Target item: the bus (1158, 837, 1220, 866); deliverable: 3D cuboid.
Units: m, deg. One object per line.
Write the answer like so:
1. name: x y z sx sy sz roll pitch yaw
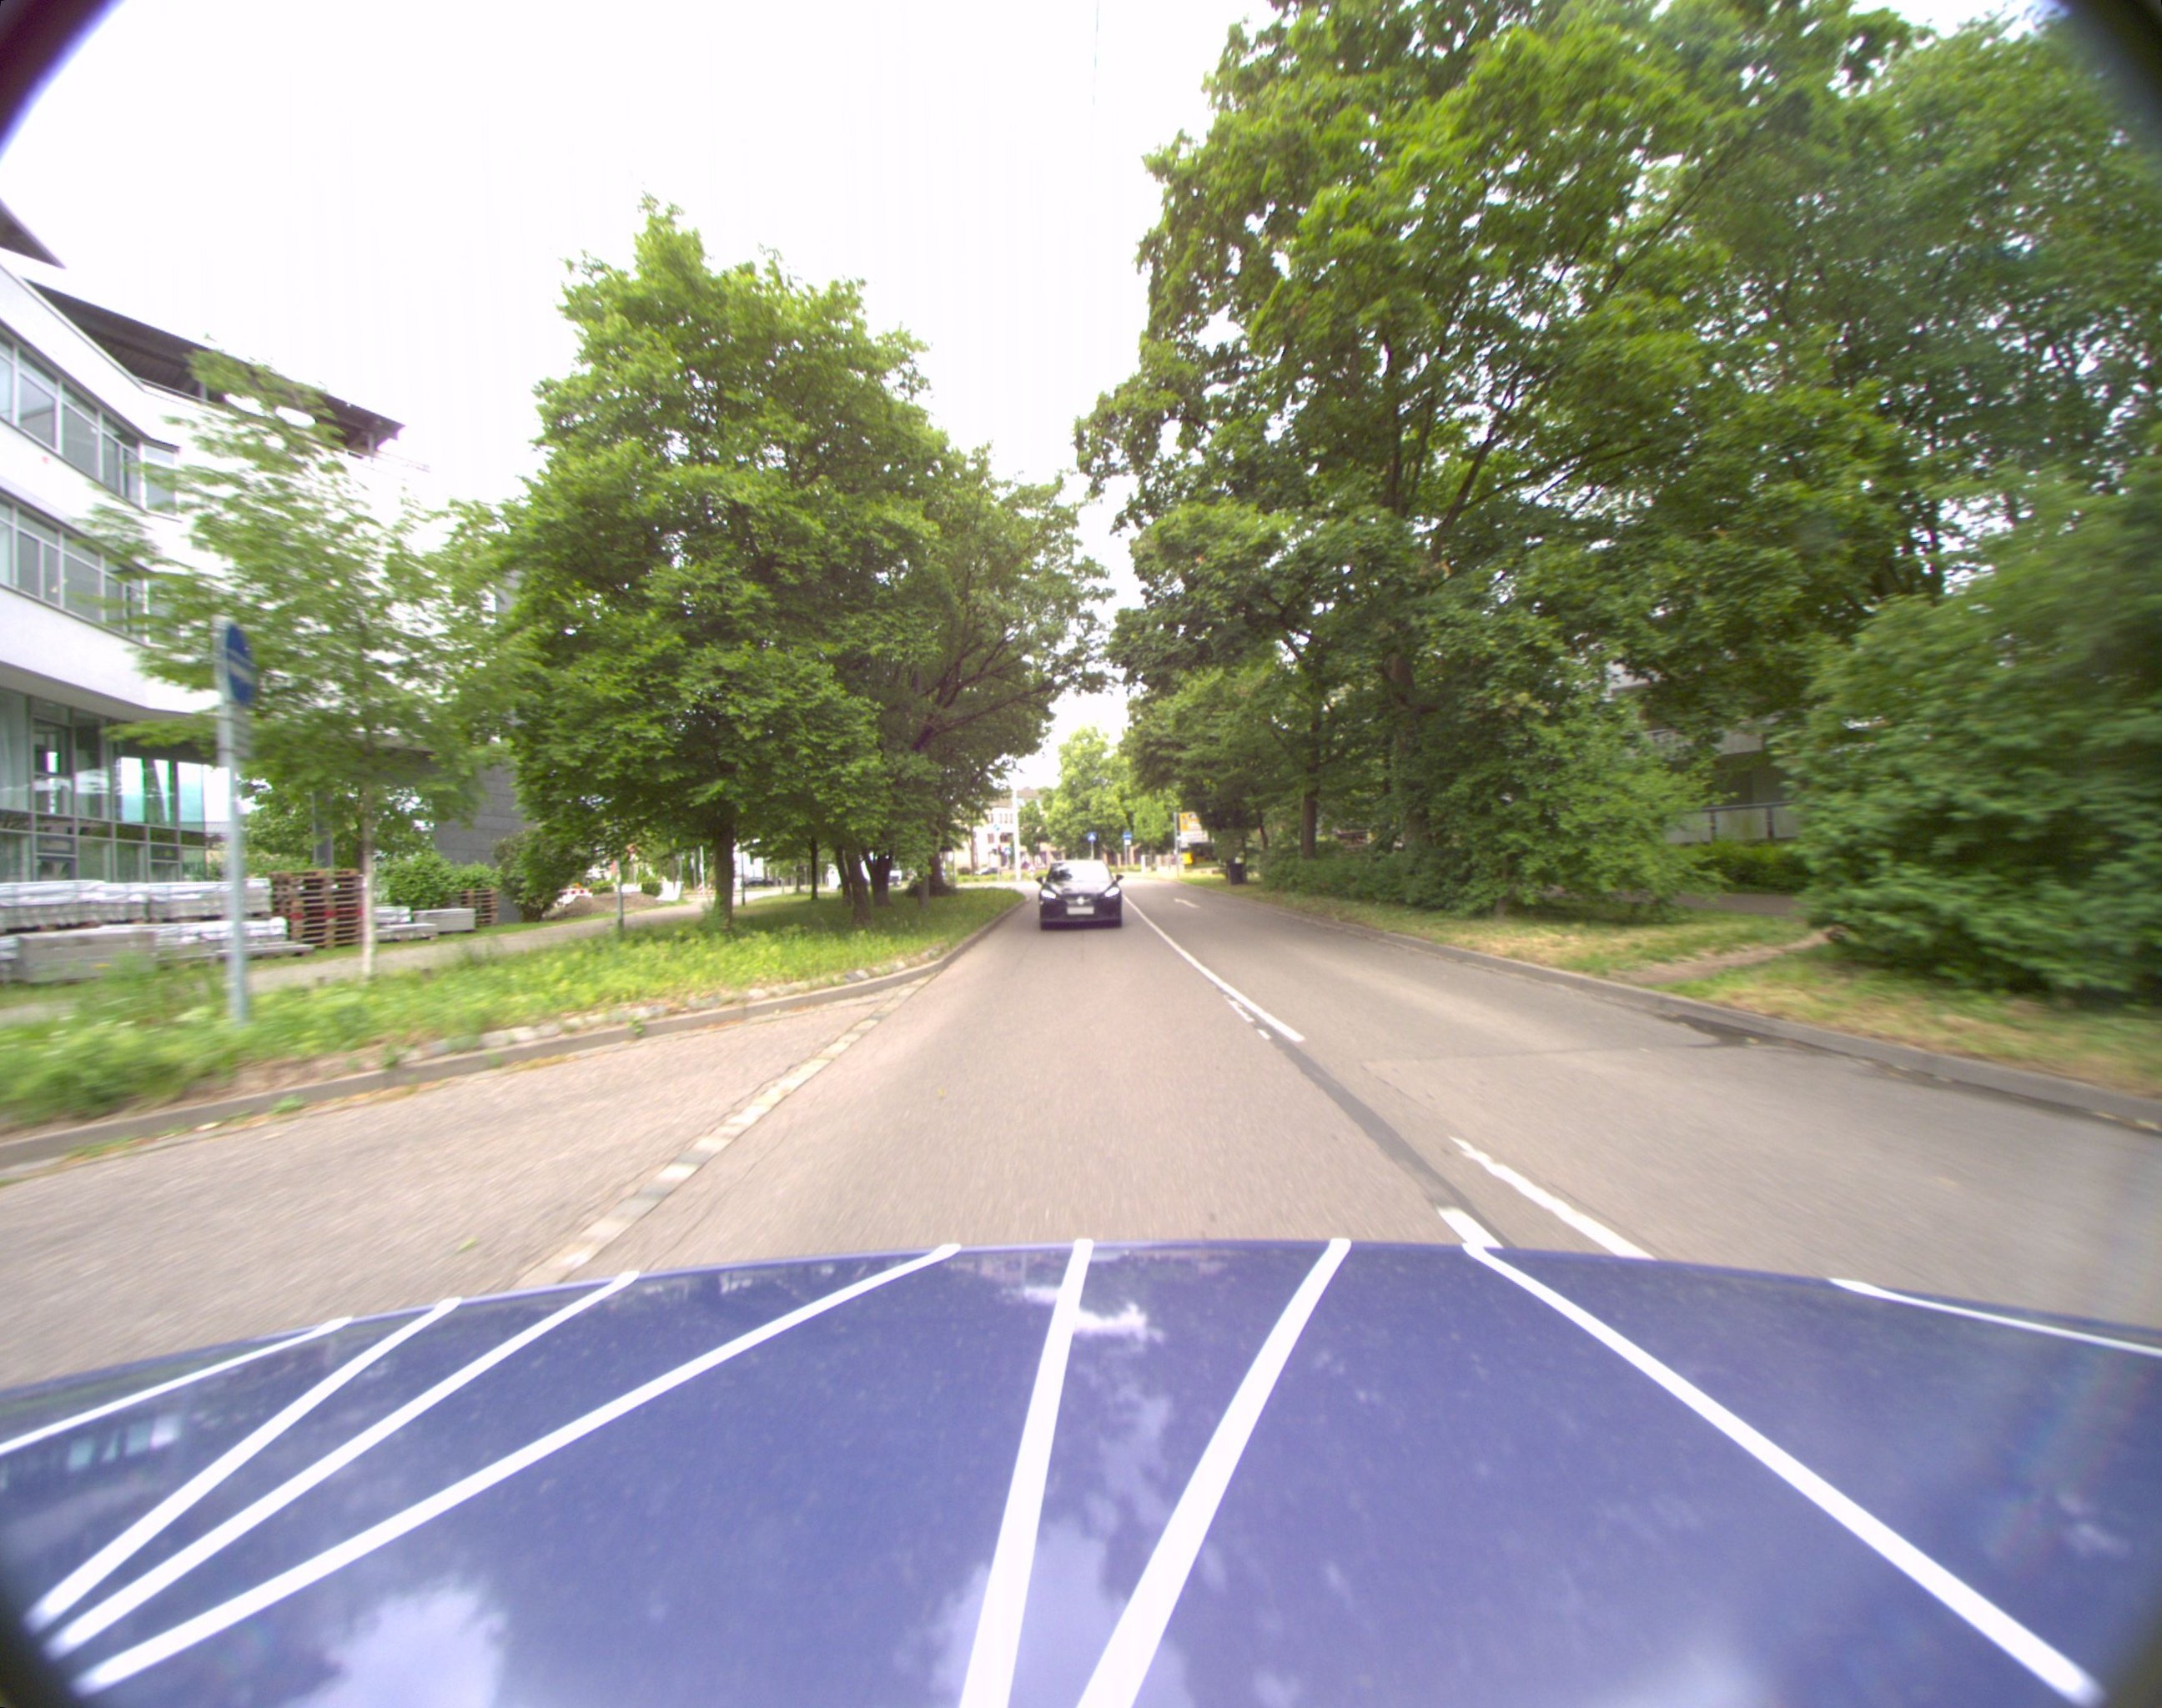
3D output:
1. bus: 13.748 -0.373 96.003 8.445 2.991 3.046 -4 -1 -45

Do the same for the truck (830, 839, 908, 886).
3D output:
1. truck: -15.611 0.659 55.671 6.448 3.176 2.442 -2 0 44

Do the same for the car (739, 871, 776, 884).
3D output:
1. car: -44.304 3.227 104.199 1.995 1.591 4.134 -7 -4 44

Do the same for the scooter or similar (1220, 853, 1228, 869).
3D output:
1. scooter or similar: 13.463 0.677 71.455 0.555 1.437 1.594 -6 -1 10

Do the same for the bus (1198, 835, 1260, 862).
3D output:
1. bus: 19.998 -0.824 102.235 9.714 2.991 3.046 -4 -1 -45

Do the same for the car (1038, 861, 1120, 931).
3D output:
1. car: 0.043 0.961 18.892 1.800 1.475 4.020 -1 0 2

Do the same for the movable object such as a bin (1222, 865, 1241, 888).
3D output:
1. movable object such as a bin: 6.178 0.917 31.194 0.599 0.840 0.579 -6 -1 21
